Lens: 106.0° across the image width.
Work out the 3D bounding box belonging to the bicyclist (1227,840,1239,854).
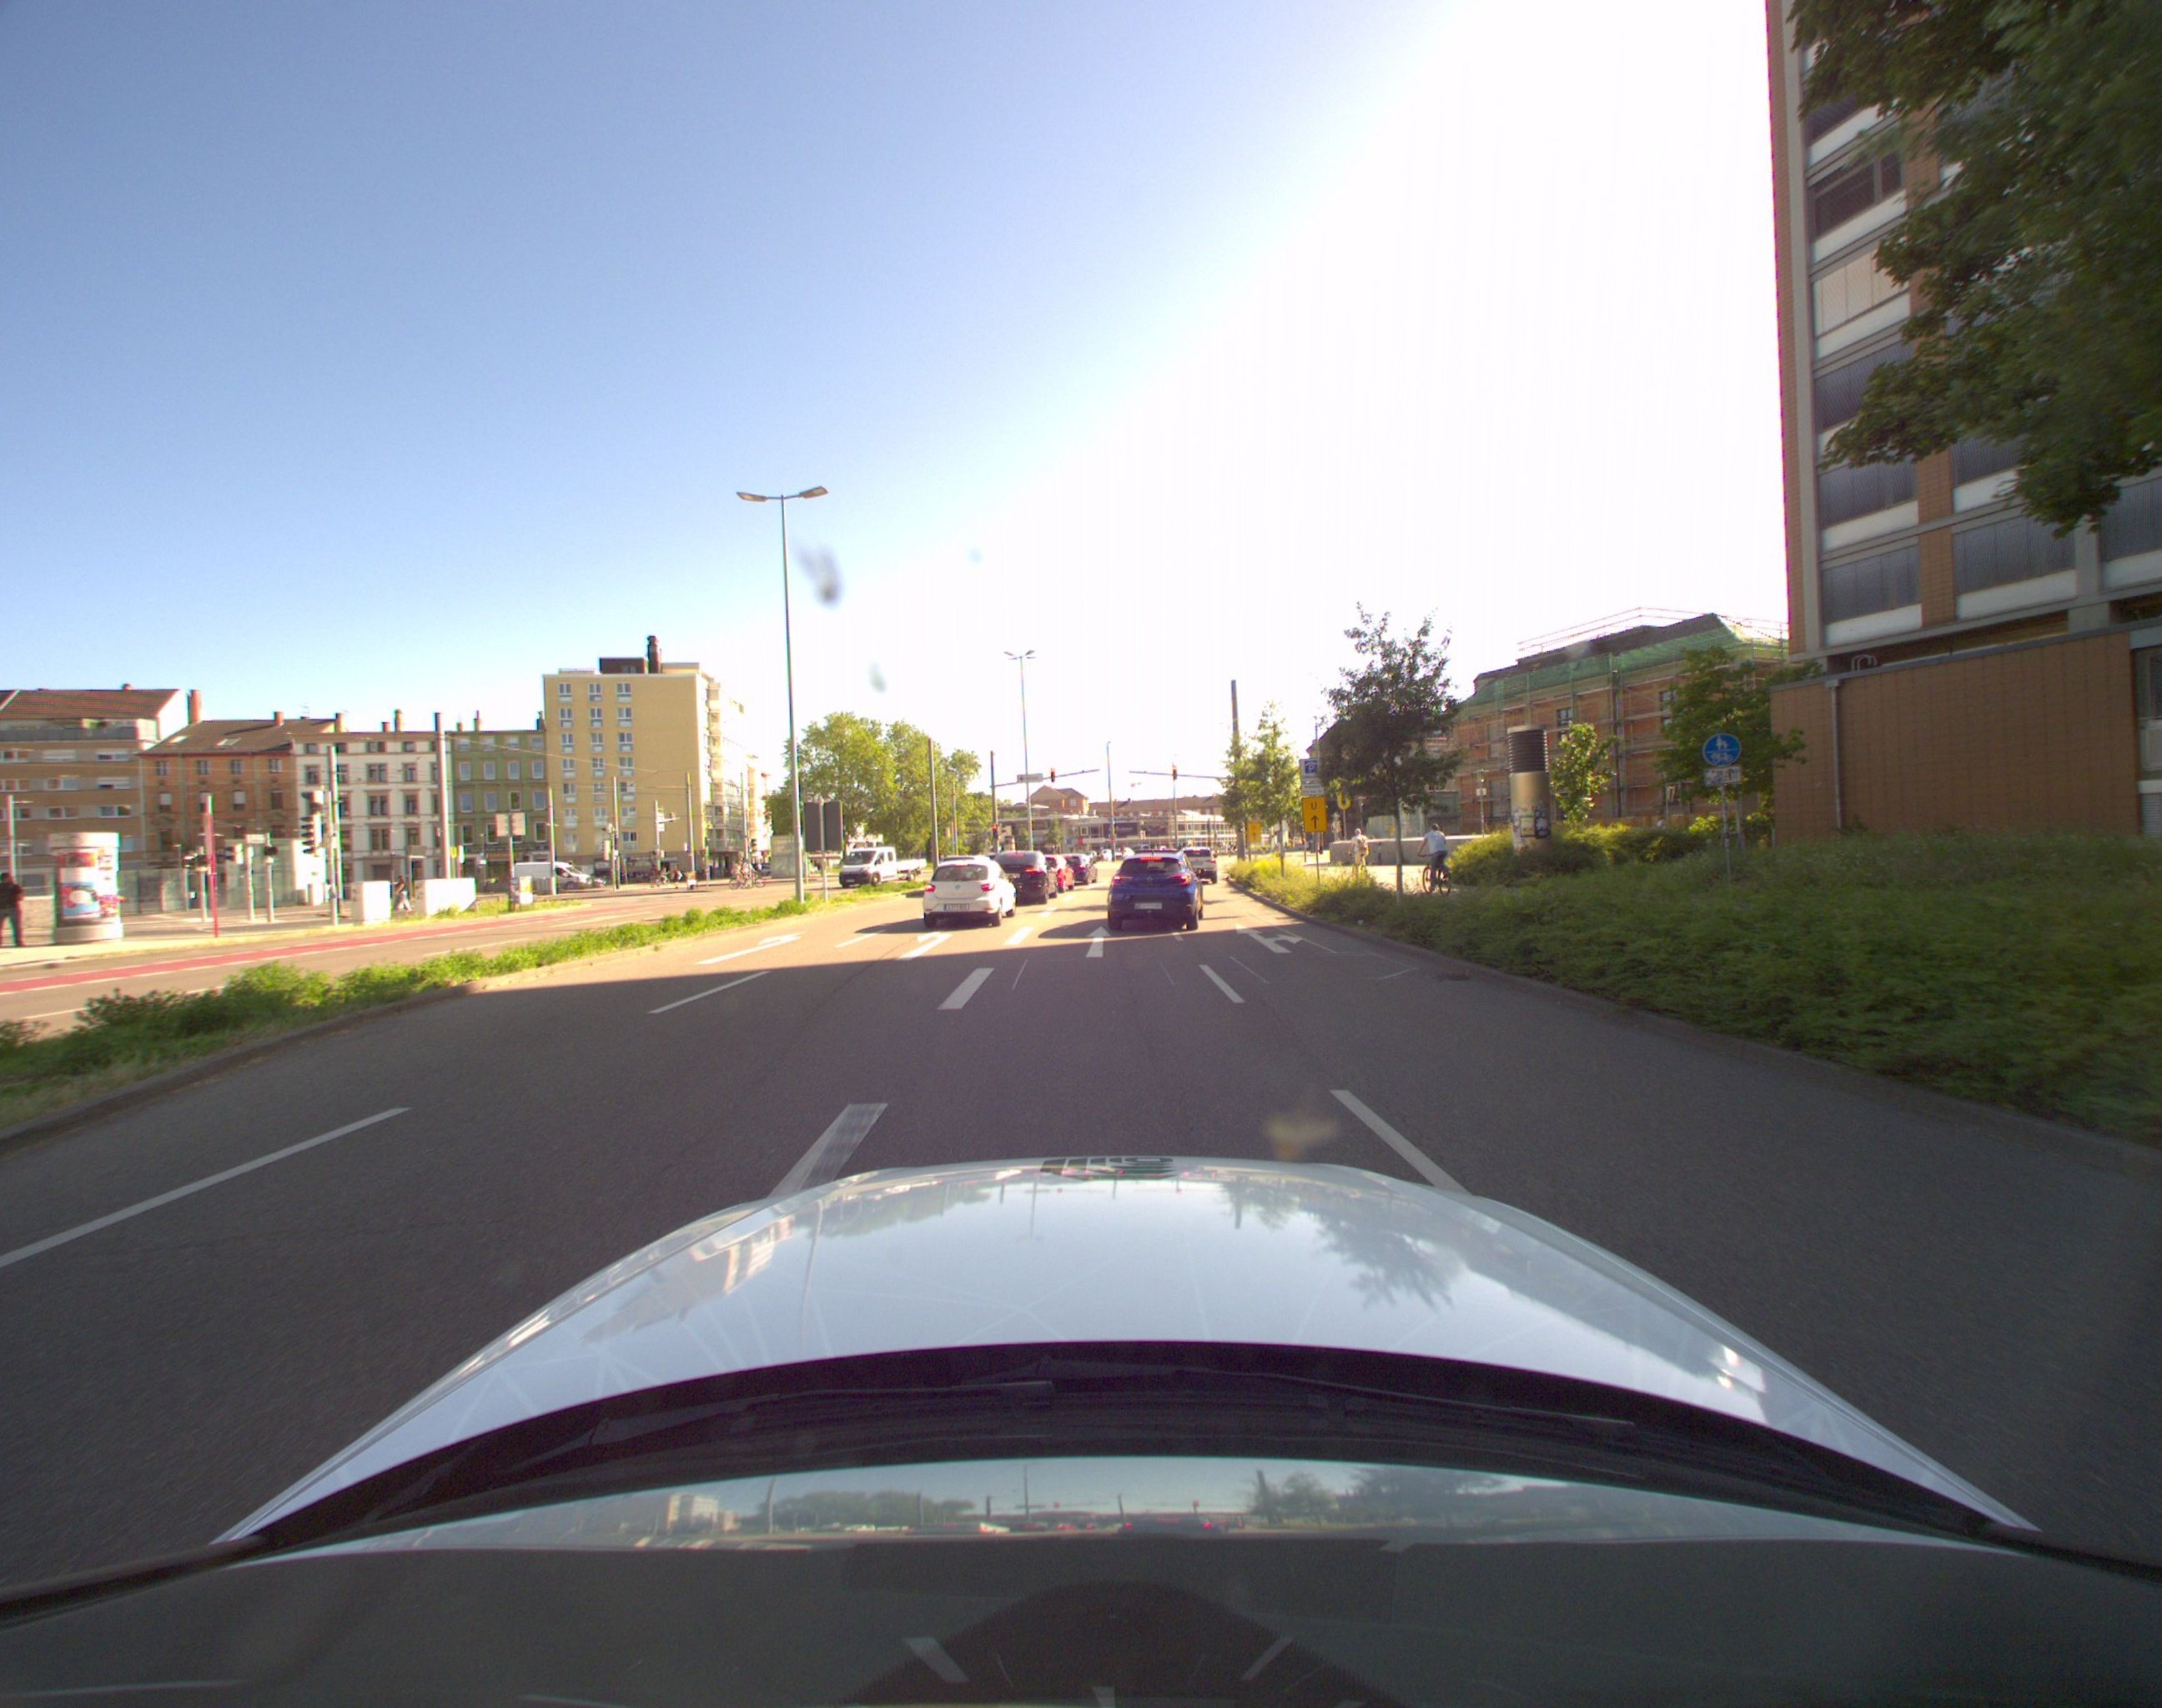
[{"bbox_3d":[18.621,-0.858,99.784,1.063,1.584,0.944,-2,2,-11],"label":"bicyclist"}]

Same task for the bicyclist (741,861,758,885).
[{"bbox_3d":[-20.748,1.166,50.995,0.770,1.444,0.644,-2,0,4],"label":"bicyclist"}]

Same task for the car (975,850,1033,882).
[{"bbox_3d":[-3.631,0.527,38.971,1.714,1.442,3.922,0,0,11],"label":"car"}]

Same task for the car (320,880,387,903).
[{"bbox_3d":[-65.726,3.393,73.648,3.986,1.771,1.994,-2,2,-9],"label":"car"}]

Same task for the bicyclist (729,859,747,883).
[{"bbox_3d":[-21.018,1.058,49.935,0.770,1.444,0.644,-2,0,6],"label":"bicyclist"}]

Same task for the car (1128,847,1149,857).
[{"bbox_3d":[8.353,-0.257,118.013,1.709,1.442,4.208,0,0,25],"label":"car"}]

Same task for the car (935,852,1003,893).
[{"bbox_3d":[-4.286,0.685,31.769,1.716,1.442,3.805,-2,0,6],"label":"car"}]

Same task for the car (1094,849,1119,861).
[{"bbox_3d":[3.348,0.162,106.656,1.709,1.442,4.209,-2,0,25],"label":"car"}]

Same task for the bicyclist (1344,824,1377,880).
[{"bbox_3d":[9.144,-0.073,26.652,0.717,1.762,0.978,-3,0,2],"label":"bicyclist"}]

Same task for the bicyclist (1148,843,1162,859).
[{"bbox_3d":[8.534,-0.322,93.962,1.187,1.776,0.942,-2,2,-18],"label":"bicyclist"}]

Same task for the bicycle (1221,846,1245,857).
[{"bbox_3d":[18.643,-0.351,99.883,2.647,1.188,0.944,-2,2,-11],"label":"bicycle"}]

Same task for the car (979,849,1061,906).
[{"bbox_3d":[-1.835,0.667,25.931,1.975,1.624,4.382,-1,0,3],"label":"car"}]

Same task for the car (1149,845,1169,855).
[{"bbox_3d":[11.933,-0.612,124.570,1.709,1.442,4.208,0,0,25],"label":"car"}]

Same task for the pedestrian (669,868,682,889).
[{"bbox_3d":[-28.309,1.704,56.813,0.593,1.408,0.567,-2,2,-10],"label":"pedestrian"}]

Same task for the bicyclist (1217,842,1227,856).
[{"bbox_3d":[17.042,-0.577,98.372,0.986,1.604,0.756,-2,0,-10],"label":"bicyclist"}]

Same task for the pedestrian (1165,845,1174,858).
[{"bbox_3d":[10.735,-0.288,99.177,0.857,1.610,0.695,-4,3,-43],"label":"pedestrian"}]

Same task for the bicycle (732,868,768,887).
[{"bbox_3d":[-20.735,1.472,50.985,1.941,1.165,0.644,-2,0,4],"label":"bicycle"}]

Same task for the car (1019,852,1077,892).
[{"bbox_3d":[-1.241,0.656,32.081,1.662,1.442,3.730,0,0,8],"label":"car"}]

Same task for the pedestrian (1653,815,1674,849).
[{"bbox_3d":[30.213,-1.160,42.277,0.535,1.752,0.789,-2,2,0],"label":"pedestrian"}]

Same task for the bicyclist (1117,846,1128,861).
[{"bbox_3d":[4.912,-0.063,95.982,1.063,1.584,0.944,-2,2,-11],"label":"bicyclist"}]

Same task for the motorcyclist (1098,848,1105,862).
[{"bbox_3d":[2.525,0.100,99.822,0.545,1.621,0.748,-2,0,21],"label":"motorcyclist"}]

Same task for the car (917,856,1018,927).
[{"bbox_3d":[-2.510,0.797,18.878,1.685,1.436,3.738,-1,0,2],"label":"car"}]

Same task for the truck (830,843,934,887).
[{"bbox_3d":[-11.323,0.559,47.112,2.195,2.313,6.920,-2,0,22],"label":"truck"}]

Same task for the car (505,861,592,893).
[{"bbox_3d":[-43.670,1.855,66.890,5.488,2.411,1.993,-2,0,-11],"label":"car"}]

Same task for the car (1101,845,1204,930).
[{"bbox_3d":[1.649,0.644,17.499,1.865,1.617,3.808,-1,0,10],"label":"car"}]

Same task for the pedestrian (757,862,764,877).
[{"bbox_3d":[-35.824,1.714,91.084,0.607,1.610,0.796,-2,2,-16],"label":"pedestrian"}]

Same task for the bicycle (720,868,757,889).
[{"bbox_3d":[-21.000,1.498,49.940,1.941,1.165,0.644,-2,0,4],"label":"bicycle"}]

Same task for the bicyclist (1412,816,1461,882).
[{"bbox_3d":[9.040,-0.133,20.745,0.718,1.617,0.976,-3,0,-3],"label":"bicyclist"}]

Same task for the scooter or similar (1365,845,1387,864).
[{"bbox_3d":[16.046,0.023,44.342,0.468,1.012,1.243,-2,2,-14],"label":"scooter or similar"}]

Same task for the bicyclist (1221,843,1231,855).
[{"bbox_3d":[17.221,-0.607,96.873,0.958,1.449,0.969,-2,0,2],"label":"bicyclist"}]

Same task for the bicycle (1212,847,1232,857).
[{"bbox_3d":[17.045,-0.276,98.371,2.178,1.095,0.756,-2,0,-10],"label":"bicycle"}]

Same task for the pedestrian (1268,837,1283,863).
[{"bbox_3d":[12.997,-0.267,54.397,0.588,1.723,0.876,-4,-3,43],"label":"pedestrian"}]

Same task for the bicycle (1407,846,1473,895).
[{"bbox_3d":[9.071,0.395,20.660,0.714,1.165,1.868,-3,0,-3],"label":"bicycle"}]

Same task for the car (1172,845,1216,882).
[{"bbox_3d":[5.216,0.405,37.406,1.865,1.617,3.635,-1,0,9],"label":"car"}]

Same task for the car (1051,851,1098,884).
[{"bbox_3d":[-0.255,0.612,38.529,1.715,1.442,3.807,0,0,8],"label":"car"}]

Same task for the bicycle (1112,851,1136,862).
[{"bbox_3d":[5.071,0.301,96.038,2.647,1.188,0.944,-2,2,-11],"label":"bicycle"}]

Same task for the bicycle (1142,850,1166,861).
[{"bbox_3d":[8.400,0.164,93.915,2.654,1.188,0.942,-3,2,-19],"label":"bicycle"}]

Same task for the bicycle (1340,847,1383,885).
[{"bbox_3d":[9.167,0.381,26.690,0.743,1.165,1.871,-3,0,1],"label":"bicycle"}]

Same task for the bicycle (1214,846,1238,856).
[{"bbox_3d":[17.250,-0.322,96.869,2.633,1.095,0.969,-2,0,1],"label":"bicycle"}]

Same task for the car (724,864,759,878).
[{"bbox_3d":[-38.922,1.927,93.342,3.436,1.510,1.685,-2,0,-13],"label":"car"}]

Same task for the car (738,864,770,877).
[{"bbox_3d":[-39.365,1.990,98.101,3.266,1.316,1.519,-2,2,-14],"label":"car"}]

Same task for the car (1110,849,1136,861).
[{"bbox_3d":[5.388,0.085,104.137,1.709,1.442,4.209,-2,0,25],"label":"car"}]

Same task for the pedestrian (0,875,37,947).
[{"bbox_3d":[-26.679,1.413,20.326,0.651,1.742,0.780,0,-1,-43],"label":"pedestrian"}]
